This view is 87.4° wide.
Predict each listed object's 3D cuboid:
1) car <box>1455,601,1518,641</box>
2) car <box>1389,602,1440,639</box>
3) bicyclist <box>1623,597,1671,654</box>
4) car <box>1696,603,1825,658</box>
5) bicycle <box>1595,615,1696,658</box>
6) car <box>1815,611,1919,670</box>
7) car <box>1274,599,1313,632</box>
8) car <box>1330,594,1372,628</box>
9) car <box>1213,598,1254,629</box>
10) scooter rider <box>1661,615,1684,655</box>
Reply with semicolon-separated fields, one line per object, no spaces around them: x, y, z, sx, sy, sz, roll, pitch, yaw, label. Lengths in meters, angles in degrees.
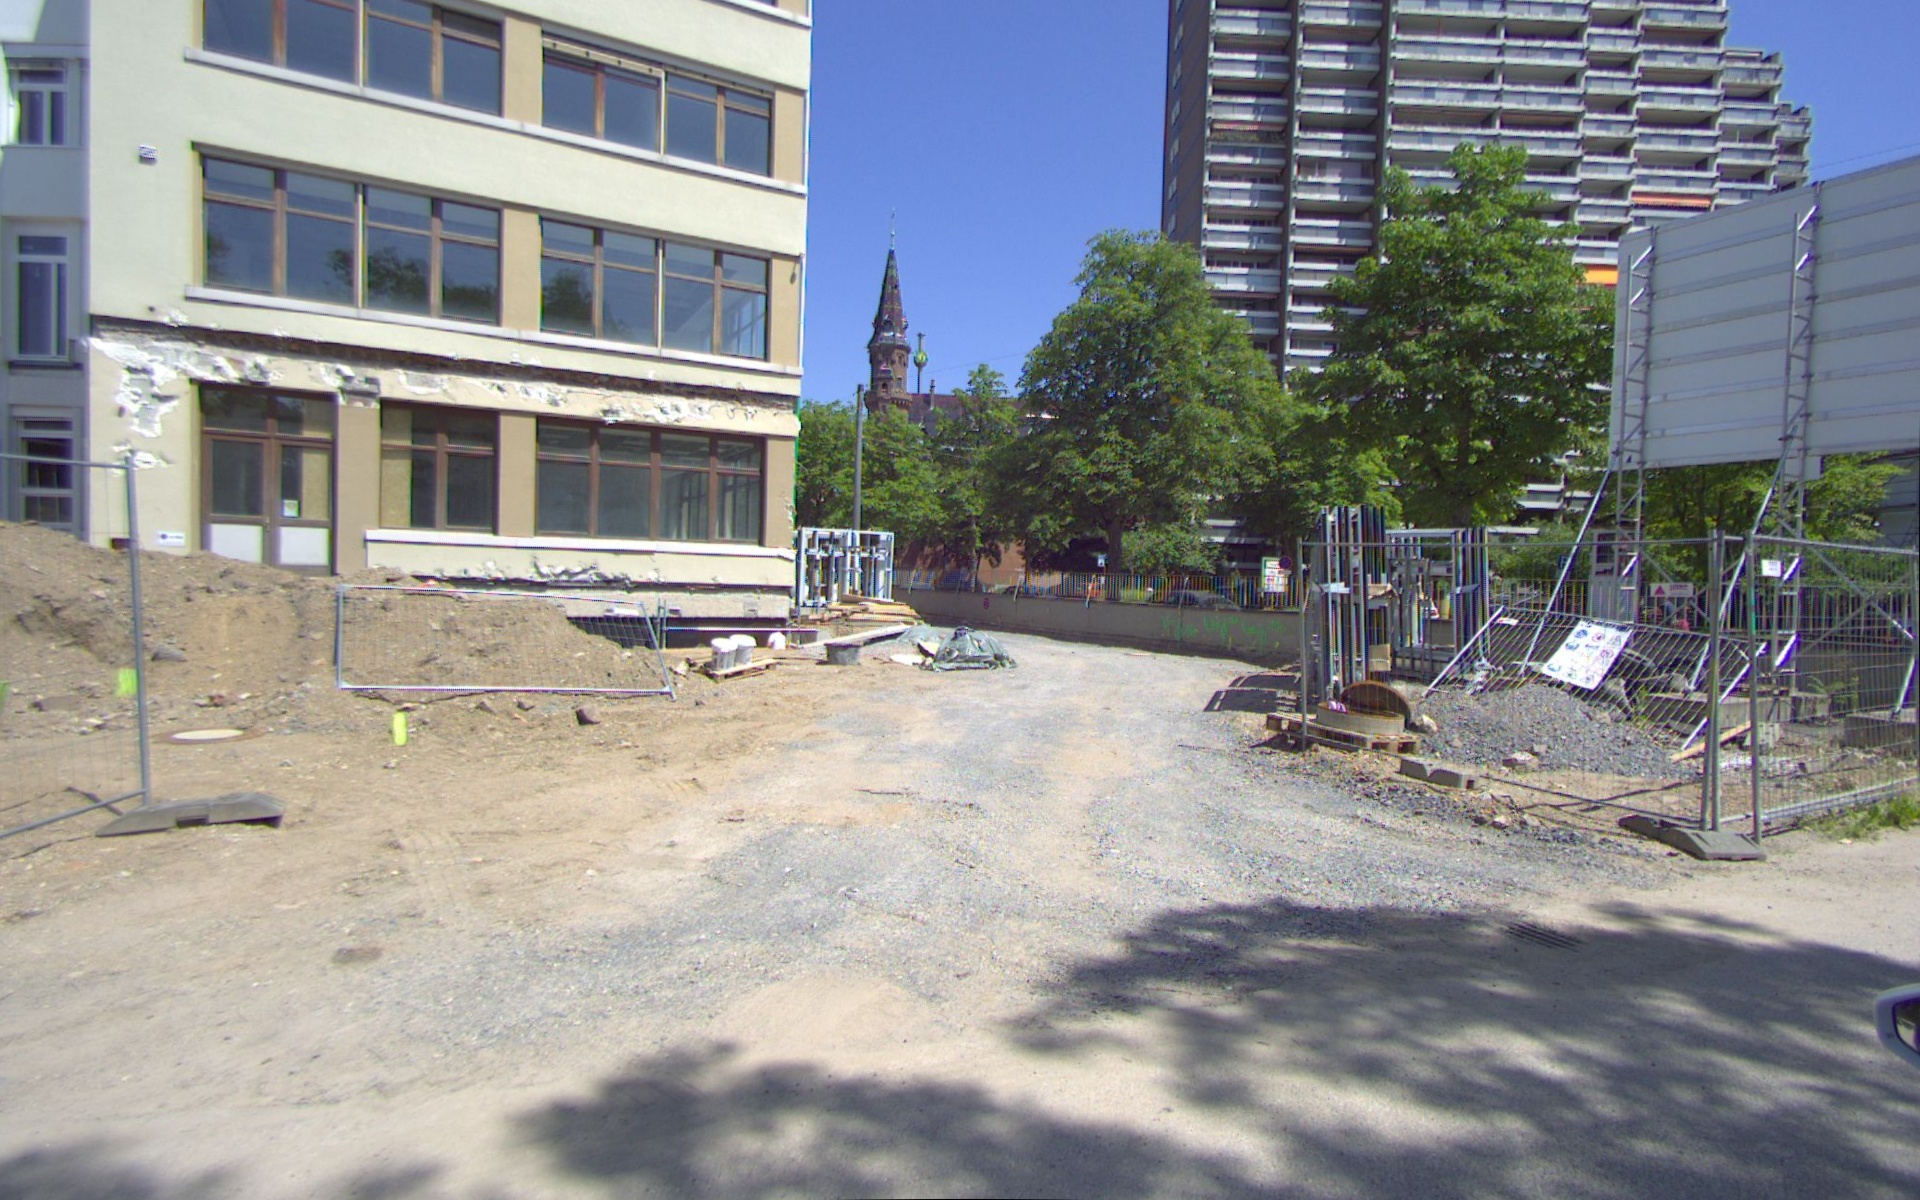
20.154;0.760;38.579;1.606;1.406;3.677;2;1;20;car
18.810;0.808;41.688;1.606;1.406;3.677;2;1;20;car
20.918;0.784;30.584;0.849;1.688;0.893;1;1;-32;bicyclist
23.810;0.854;30.034;1.605;1.483;3.679;2;1;14;car
20.874;1.088;30.655;0.777;1.167;2.418;1;1;-32;bicycle
25.689;1.083;27.942;1.606;1.483;3.678;2;1;18;car
15.454;0.705;46.457;1.606;1.406;3.677;2;1;20;car
17.382;0.451;44.739;1.606;1.406;3.677;2;1;20;car
13.616;0.640;49.888;1.606;1.406;3.677;2;1;20;car
20.732;1.021;29.236;0.355;1.149;0.414;1;1;-32;scooter rider
